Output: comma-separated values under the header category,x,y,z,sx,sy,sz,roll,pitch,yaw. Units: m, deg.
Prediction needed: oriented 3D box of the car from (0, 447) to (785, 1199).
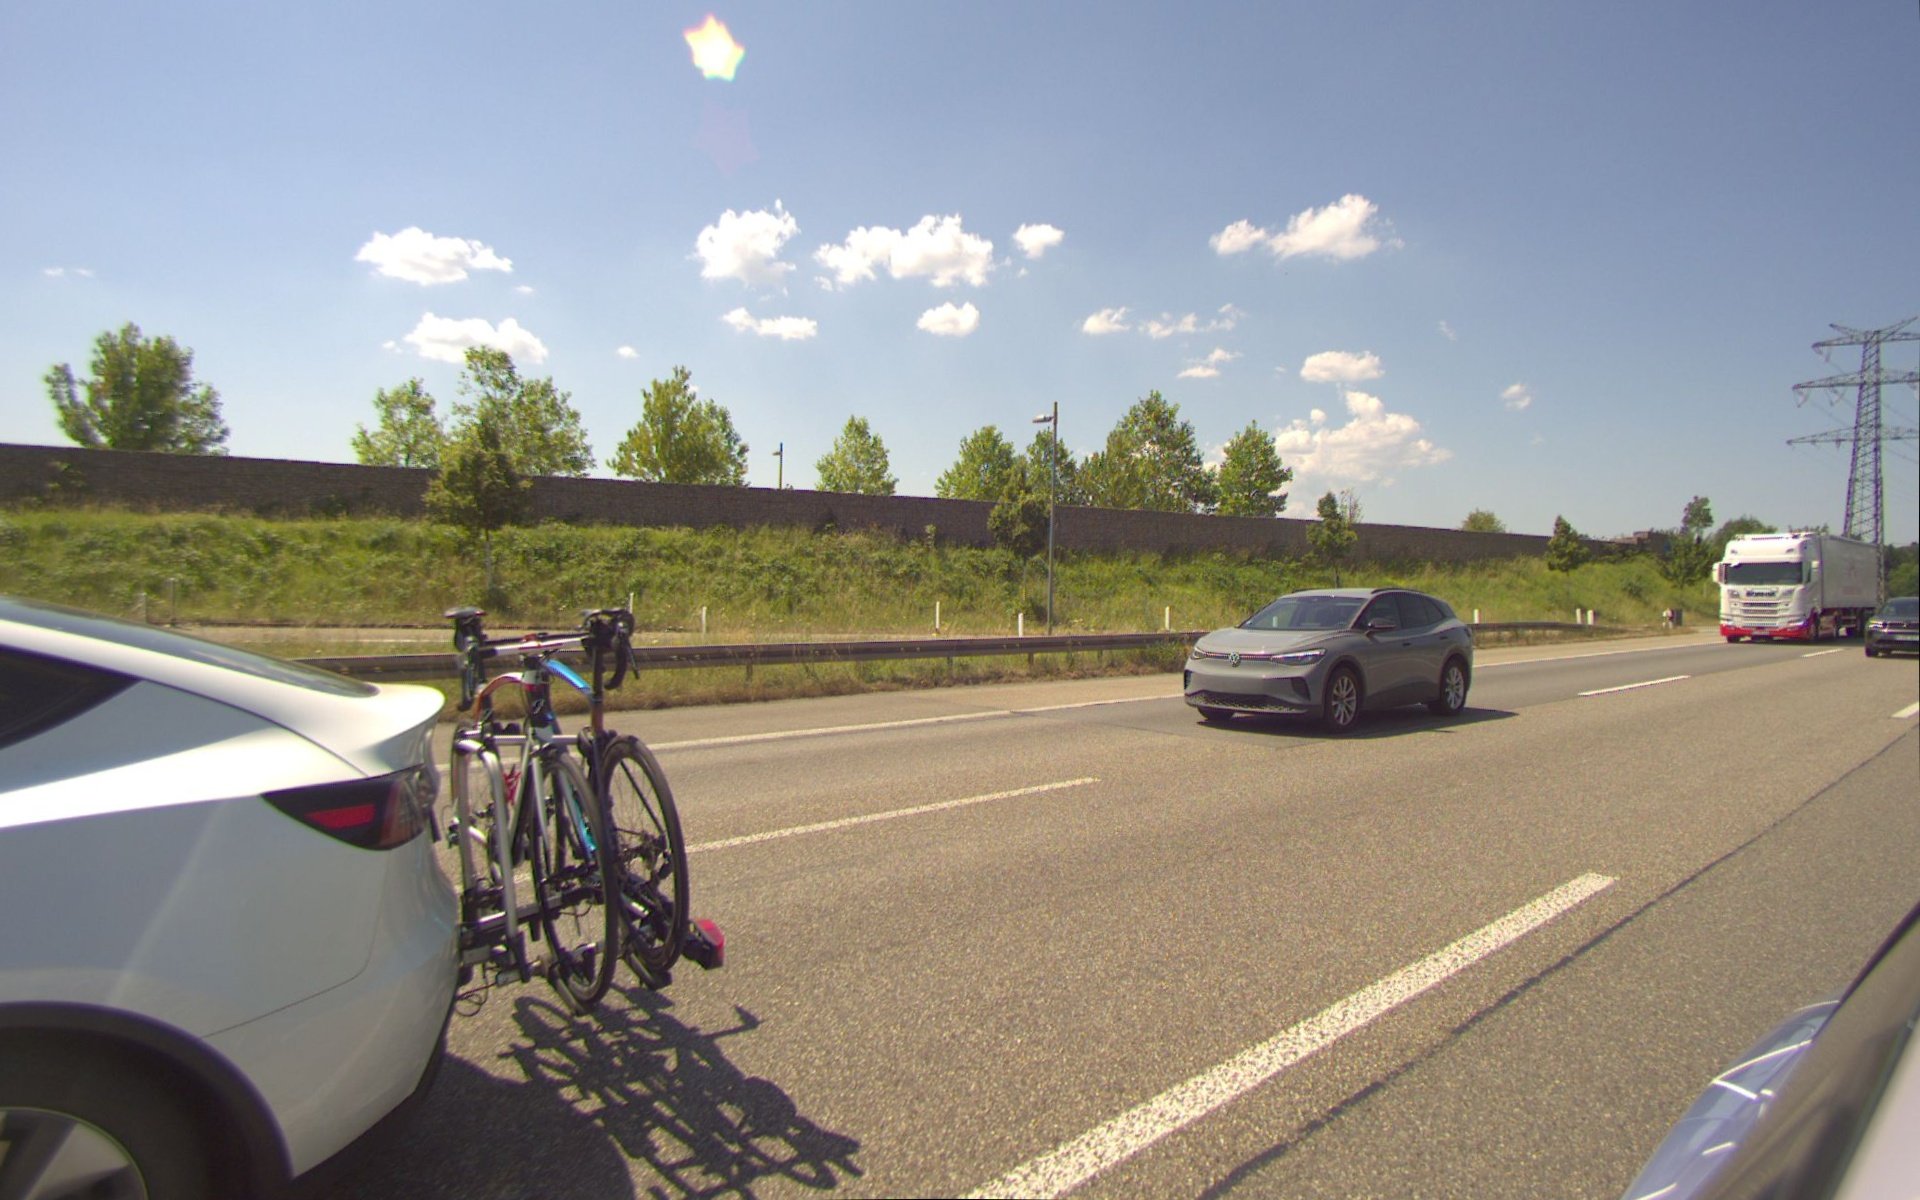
category,x,y,z,sx,sy,sz,roll,pitch,yaw
car,-3.161,0.585,1.574,5.503,1.657,1.954,-1,0,-41

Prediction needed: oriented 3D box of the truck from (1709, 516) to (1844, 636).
category,x,y,z,sx,sy,sz,roll,pitch,yaw
truck,28.931,-0.812,35.854,3.779,3.957,3.075,0,0,-40

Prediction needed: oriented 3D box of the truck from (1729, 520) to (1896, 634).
category,x,y,z,sx,sy,sz,roll,pitch,yaw
truck,34.175,-0.846,40.293,12.282,3.957,3.074,0,0,-40

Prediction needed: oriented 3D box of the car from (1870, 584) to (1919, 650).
category,x,y,z,sx,sy,sz,roll,pitch,yaw
car,25.911,0.424,26.961,3.975,1.667,1.954,0,0,-40

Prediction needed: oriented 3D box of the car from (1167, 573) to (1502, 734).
category,x,y,z,sx,sy,sz,roll,pitch,yaw
car,4.759,0.534,12.569,4.503,1.657,1.872,-1,0,-39
